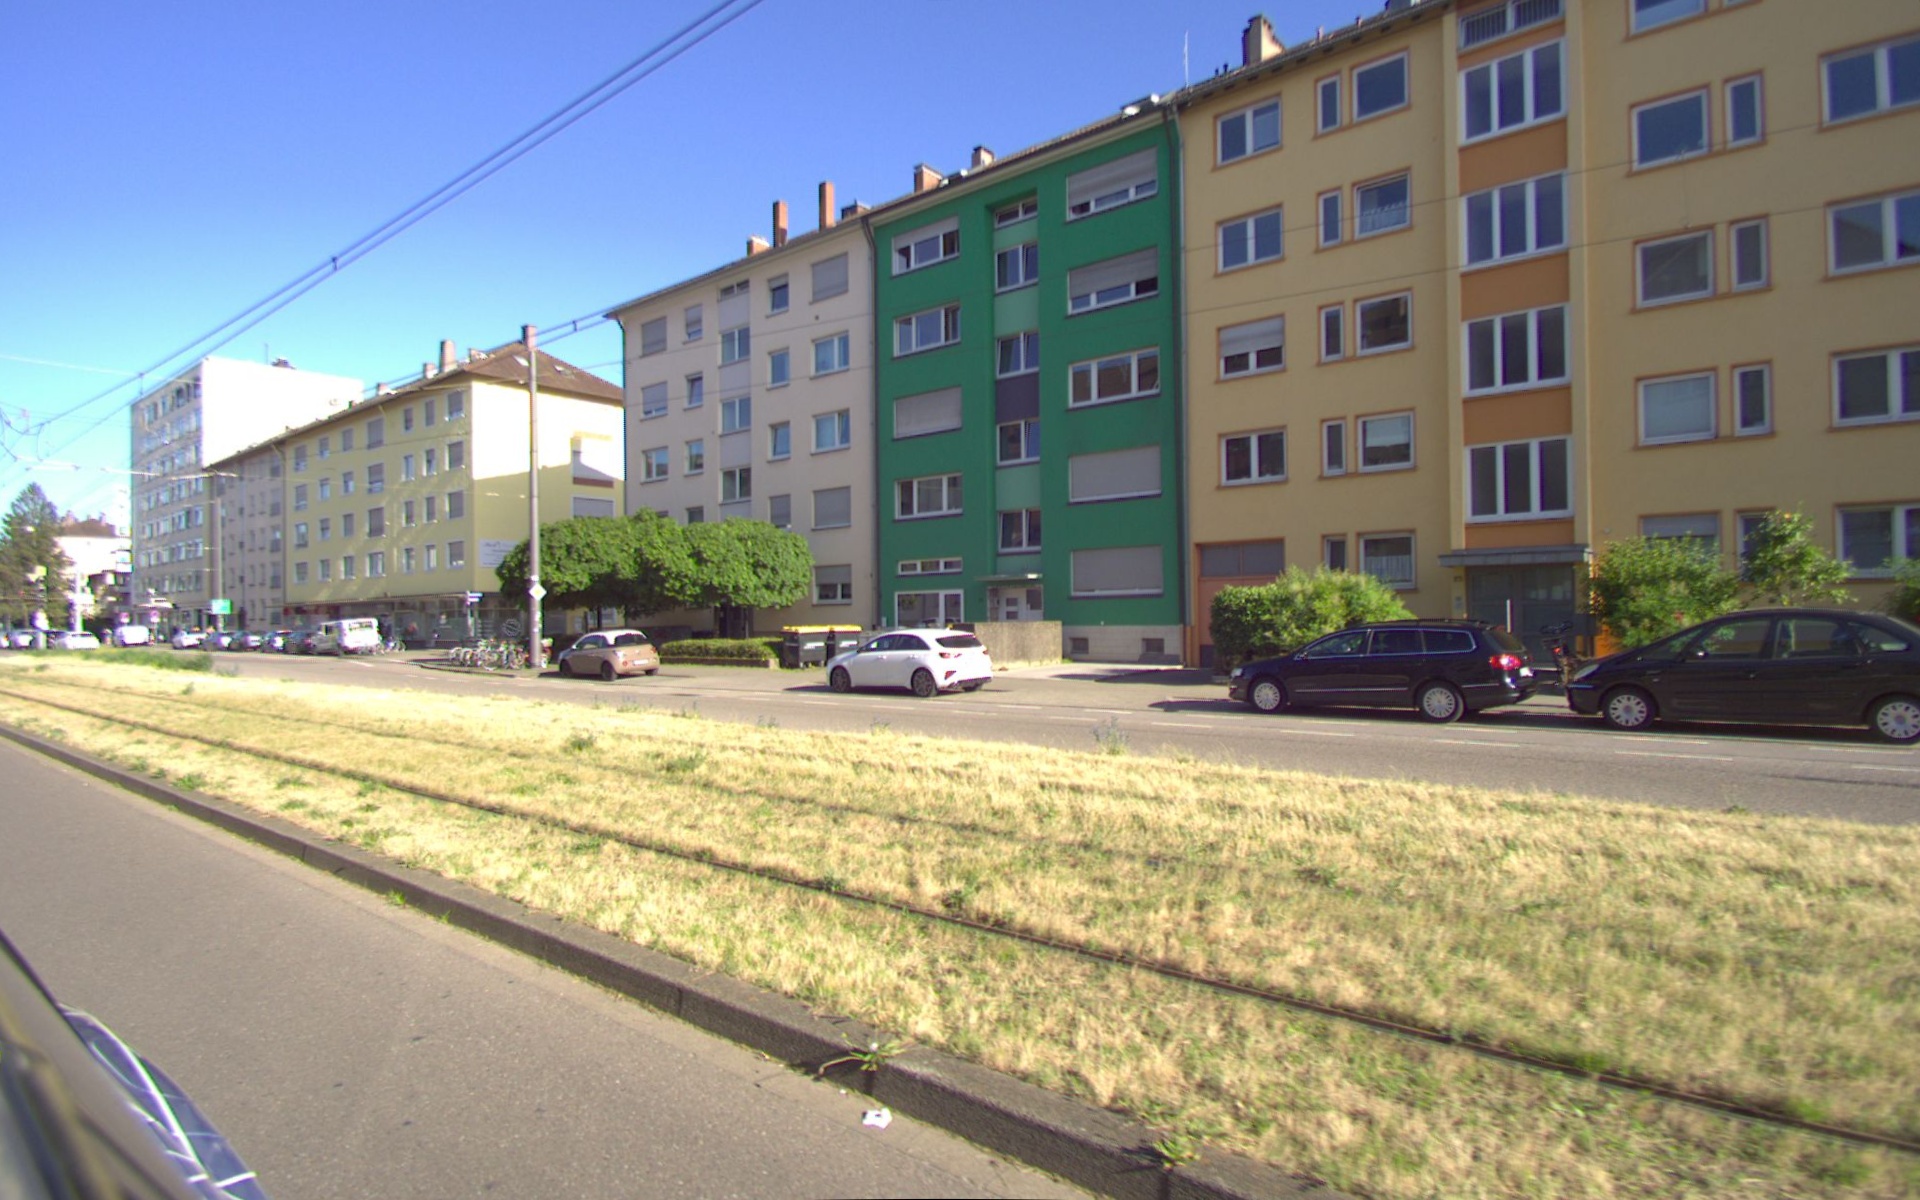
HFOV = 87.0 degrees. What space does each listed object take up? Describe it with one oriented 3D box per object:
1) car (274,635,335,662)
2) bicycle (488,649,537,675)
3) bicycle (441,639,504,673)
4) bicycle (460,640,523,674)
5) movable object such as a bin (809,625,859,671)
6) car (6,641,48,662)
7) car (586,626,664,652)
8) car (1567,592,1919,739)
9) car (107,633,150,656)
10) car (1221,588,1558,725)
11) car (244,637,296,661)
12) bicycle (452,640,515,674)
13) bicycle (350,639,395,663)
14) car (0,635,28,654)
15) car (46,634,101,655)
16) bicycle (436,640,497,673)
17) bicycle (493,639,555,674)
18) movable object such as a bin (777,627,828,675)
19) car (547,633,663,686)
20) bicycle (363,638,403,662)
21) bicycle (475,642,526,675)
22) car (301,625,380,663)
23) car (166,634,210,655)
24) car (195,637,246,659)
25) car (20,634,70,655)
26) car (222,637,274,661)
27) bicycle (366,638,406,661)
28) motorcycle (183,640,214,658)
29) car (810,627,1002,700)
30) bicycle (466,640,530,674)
[{"bbox_3d":[-39.966,2.933,61.689,4.592,1.485,1.765,-2,1,40],"label":"car"},{"bbox_3d":[-15.695,2.177,35.457,2.045,0.872,0.374,-2,1,29],"label":"bicycle"},{"bbox_3d":[-18.644,2.124,38.746,2.024,1.101,0.616,-4,1,-44],"label":"bicycle"},{"bbox_3d":[-17.497,2.107,37.840,2.024,1.101,0.616,-4,1,-44],"label":"bicycle"},{"bbox_3d":[-4.062,1.529,32.607,1.039,1.378,1.135,-1,1,42],"label":"movable object such as a bin"},{"bbox_3d":[-72.652,4.004,78.775,4.603,1.593,1.765,-2,-3,40],"label":"car"},{"bbox_3d":[-19.376,2.277,58.664,1.770,1.424,3.949,-2,-3,37],"label":"car"},{"bbox_3d":[10.551,0.786,13.296,4.147,1.619,1.974,-2,1,40],"label":"car"},{"bbox_3d":[-75.909,4.055,92.383,4.663,1.912,1.975,-2,1,38],"label":"car"},{"bbox_3d":[6.819,0.839,16.344,4.605,1.851,1.974,-2,1,40],"label":"car"},{"bbox_3d":[-44.510,3.155,65.266,3.764,1.395,1.765,-2,1,40],"label":"car"},{"bbox_3d":[-18.059,2.134,38.387,2.024,1.101,0.616,-4,1,-44],"label":"bicycle"},{"bbox_3d":[-32.173,2.785,55.466,0.472,1.114,2.077,-2,1,40],"label":"bicycle"},{"bbox_3d":[-78.317,3.657,83.187,4.234,1.562,1.839,-2,-4,38],"label":"car"},{"bbox_3d":[-61.689,3.095,70.399,4.403,1.395,1.818,-2,-3,34],"label":"car"},{"bbox_3d":[-19.120,2.173,39.232,2.024,1.101,0.616,-4,1,-44],"label":"bicycle"},{"bbox_3d":[-15.805,2.036,36.715,2.019,1.101,0.617,-3,1,-23],"label":"bicycle"},{"bbox_3d":[-4.925,1.584,31.659,1.039,1.378,1.135,-1,1,42],"label":"movable object such as a bin"},{"bbox_3d":[-11.068,1.817,31.463,3.729,1.453,1.620,-2,1,38],"label":"car"},{"bbox_3d":[-31.059,2.679,54.517,0.390,1.114,1.801,-2,1,40],"label":"bicycle"},{"bbox_3d":[-15.891,2.025,35.017,1.927,1.101,0.506,-2,1,29],"label":"bicycle"},{"bbox_3d":[-35.682,2.523,58.230,5.491,1.964,1.976,-2,1,37],"label":"car"},{"bbox_3d":[-59.246,3.398,77.653,4.196,1.497,1.741,-2,1,40],"label":"car"},{"bbox_3d":[-52.892,3.412,72.325,4.409,1.395,1.766,-2,1,38],"label":"car"},{"bbox_3d":[-67.145,3.267,74.214,4.404,1.540,1.767,-2,-3,35],"label":"car"},{"bbox_3d":[-48.495,3.324,68.870,4.411,1.431,1.765,-2,1,40],"label":"car"},{"bbox_3d":[-30.732,2.652,54.236,0.390,1.114,1.801,-2,1,40],"label":"bicycle"},{"bbox_3d":[-56.429,3.623,75.030,0.481,1.147,2.108,-3,1,6],"label":"motorcycle"},{"bbox_3d":[-1.312,1.392,23.111,4.372,1.465,1.711,-2,0,40],"label":"car"},{"bbox_3d":[-17.040,2.085,37.366,2.024,1.101,0.616,-4,1,-44],"label":"bicycle"}]
